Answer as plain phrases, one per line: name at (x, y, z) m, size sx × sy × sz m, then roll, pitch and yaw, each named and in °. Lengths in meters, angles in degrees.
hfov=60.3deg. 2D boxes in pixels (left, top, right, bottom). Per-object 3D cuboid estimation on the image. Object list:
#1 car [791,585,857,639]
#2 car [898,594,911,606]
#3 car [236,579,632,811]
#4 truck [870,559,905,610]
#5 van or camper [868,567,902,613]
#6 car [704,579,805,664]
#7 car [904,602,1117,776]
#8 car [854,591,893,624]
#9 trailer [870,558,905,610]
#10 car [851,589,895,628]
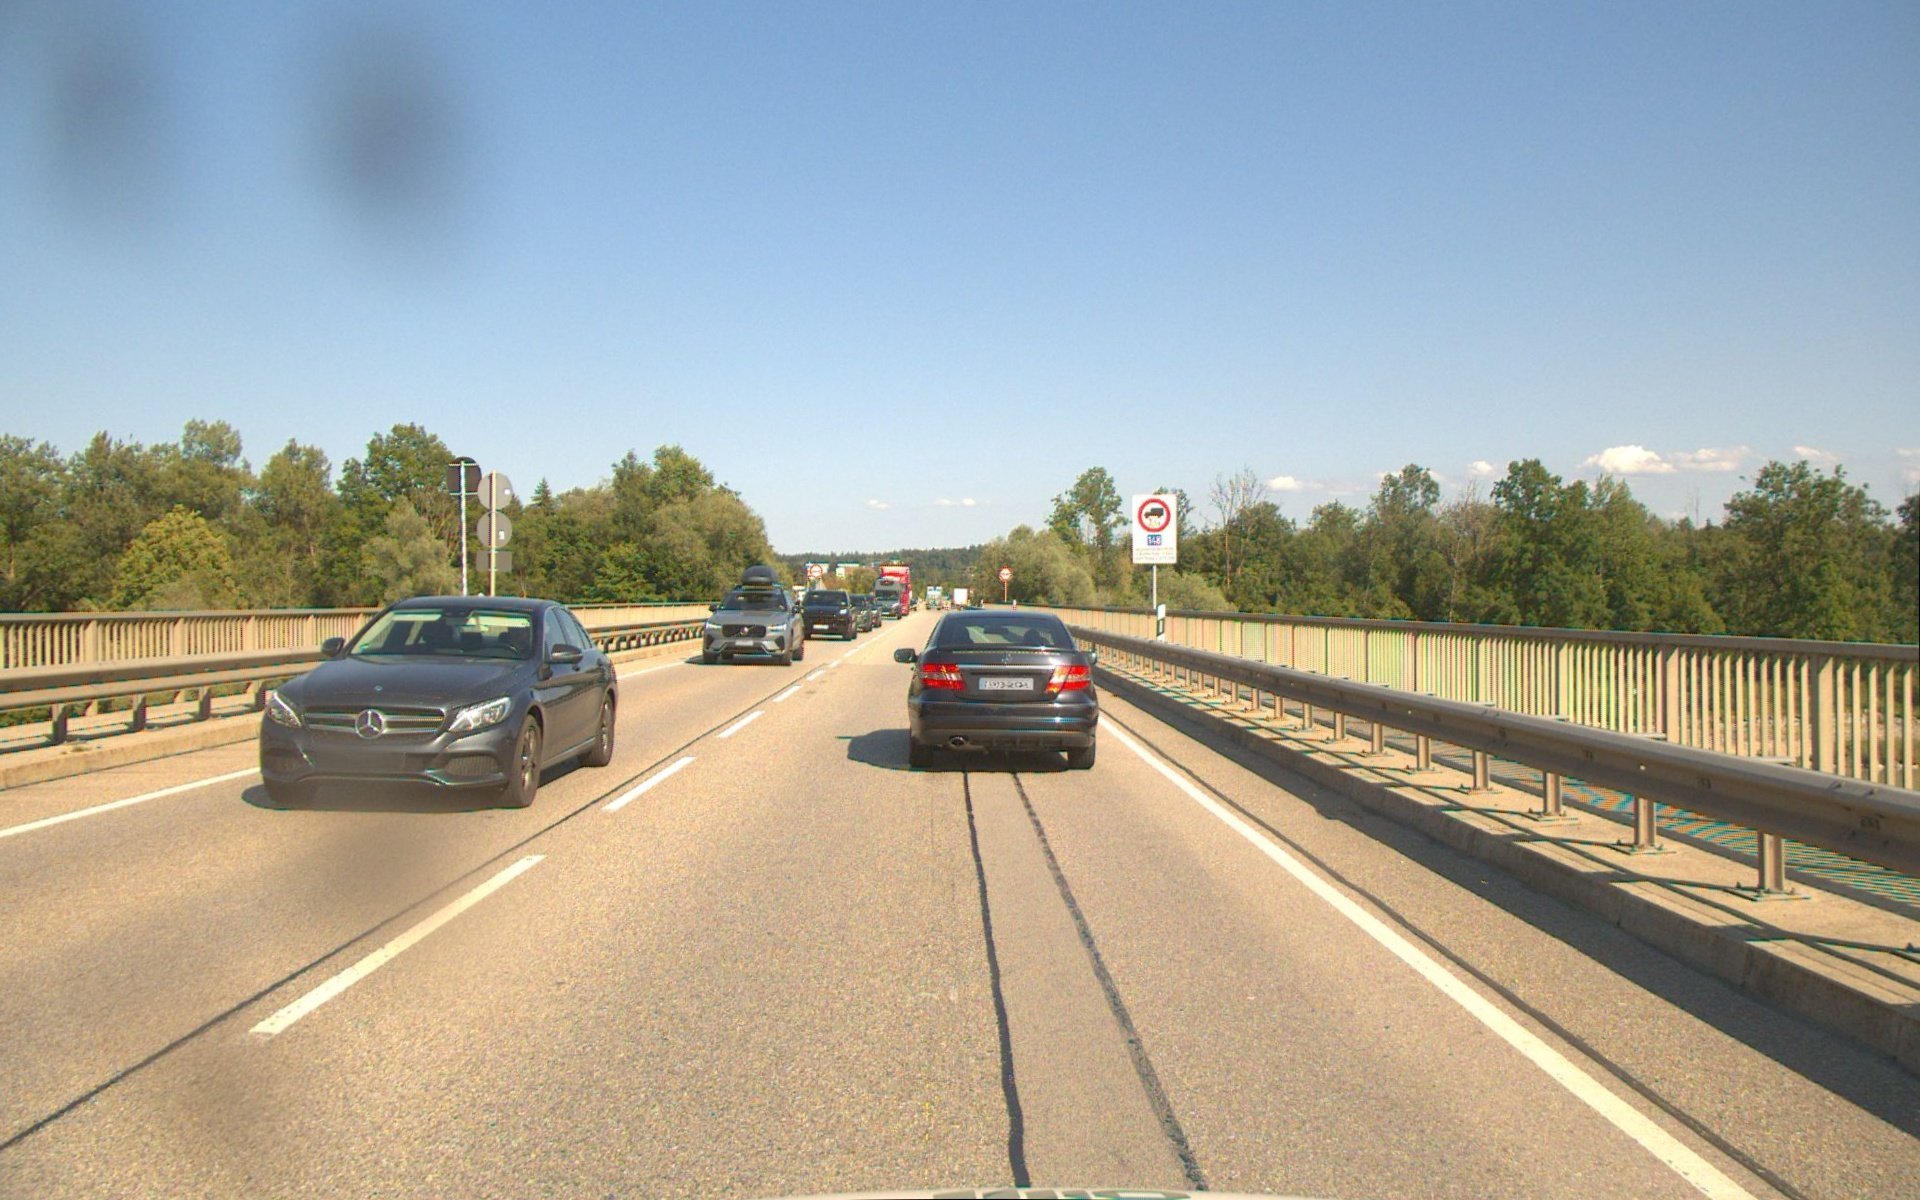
car at (-4.630, 0.368, 56.858) m, size 2.012 × 1.681 × 4.719 m, roll 2°, pitch 1°, yaw -2°
car at (-8.077, 0.043, 239.555) m, size 1.804 × 1.670 × 4.576 m, roll -1°, pitch 0°, yaw -1°
car at (-3.830, 0.608, 12.888) m, size 1.730 × 1.472 × 4.455 m, roll 1°, pitch 0°, yaw -1°
truck at (-6.155, -1.302, 141.791) m, size 2.849 × 4.257 × 5.711 m, roll 1°, pitch 0°, yaw -2°
van or camper at (-5.288, -0.716, 116.807) m, size 2.268 × 3.104 × 6.814 m, roll 1°, pitch 0°, yaw -2°
car at (-4.506, 0.440, 36.810) m, size 1.817 × 1.752 × 4.564 m, roll 1°, pitch 0°, yaw -2°
car at (0.433, 0.745, 15.772) m, size 1.756 × 1.400 × 4.000 m, roll 1°, pitch 0°, yaw 0°
car at (-4.314, 0.351, 82.351) m, size 1.837 × 1.611 × 4.271 m, roll 1°, pitch 0°, yaw -3°
trailer at (-6.641, -1.400, 149.754) m, size 2.850 × 4.377 × 14.292 m, roll 1°, pitch 0°, yaw -3°
car at (-3.764, 0.349, 70.775) m, size 1.771 × 1.605 × 4.197 m, roll 1°, pitch 0°, yaw -4°
